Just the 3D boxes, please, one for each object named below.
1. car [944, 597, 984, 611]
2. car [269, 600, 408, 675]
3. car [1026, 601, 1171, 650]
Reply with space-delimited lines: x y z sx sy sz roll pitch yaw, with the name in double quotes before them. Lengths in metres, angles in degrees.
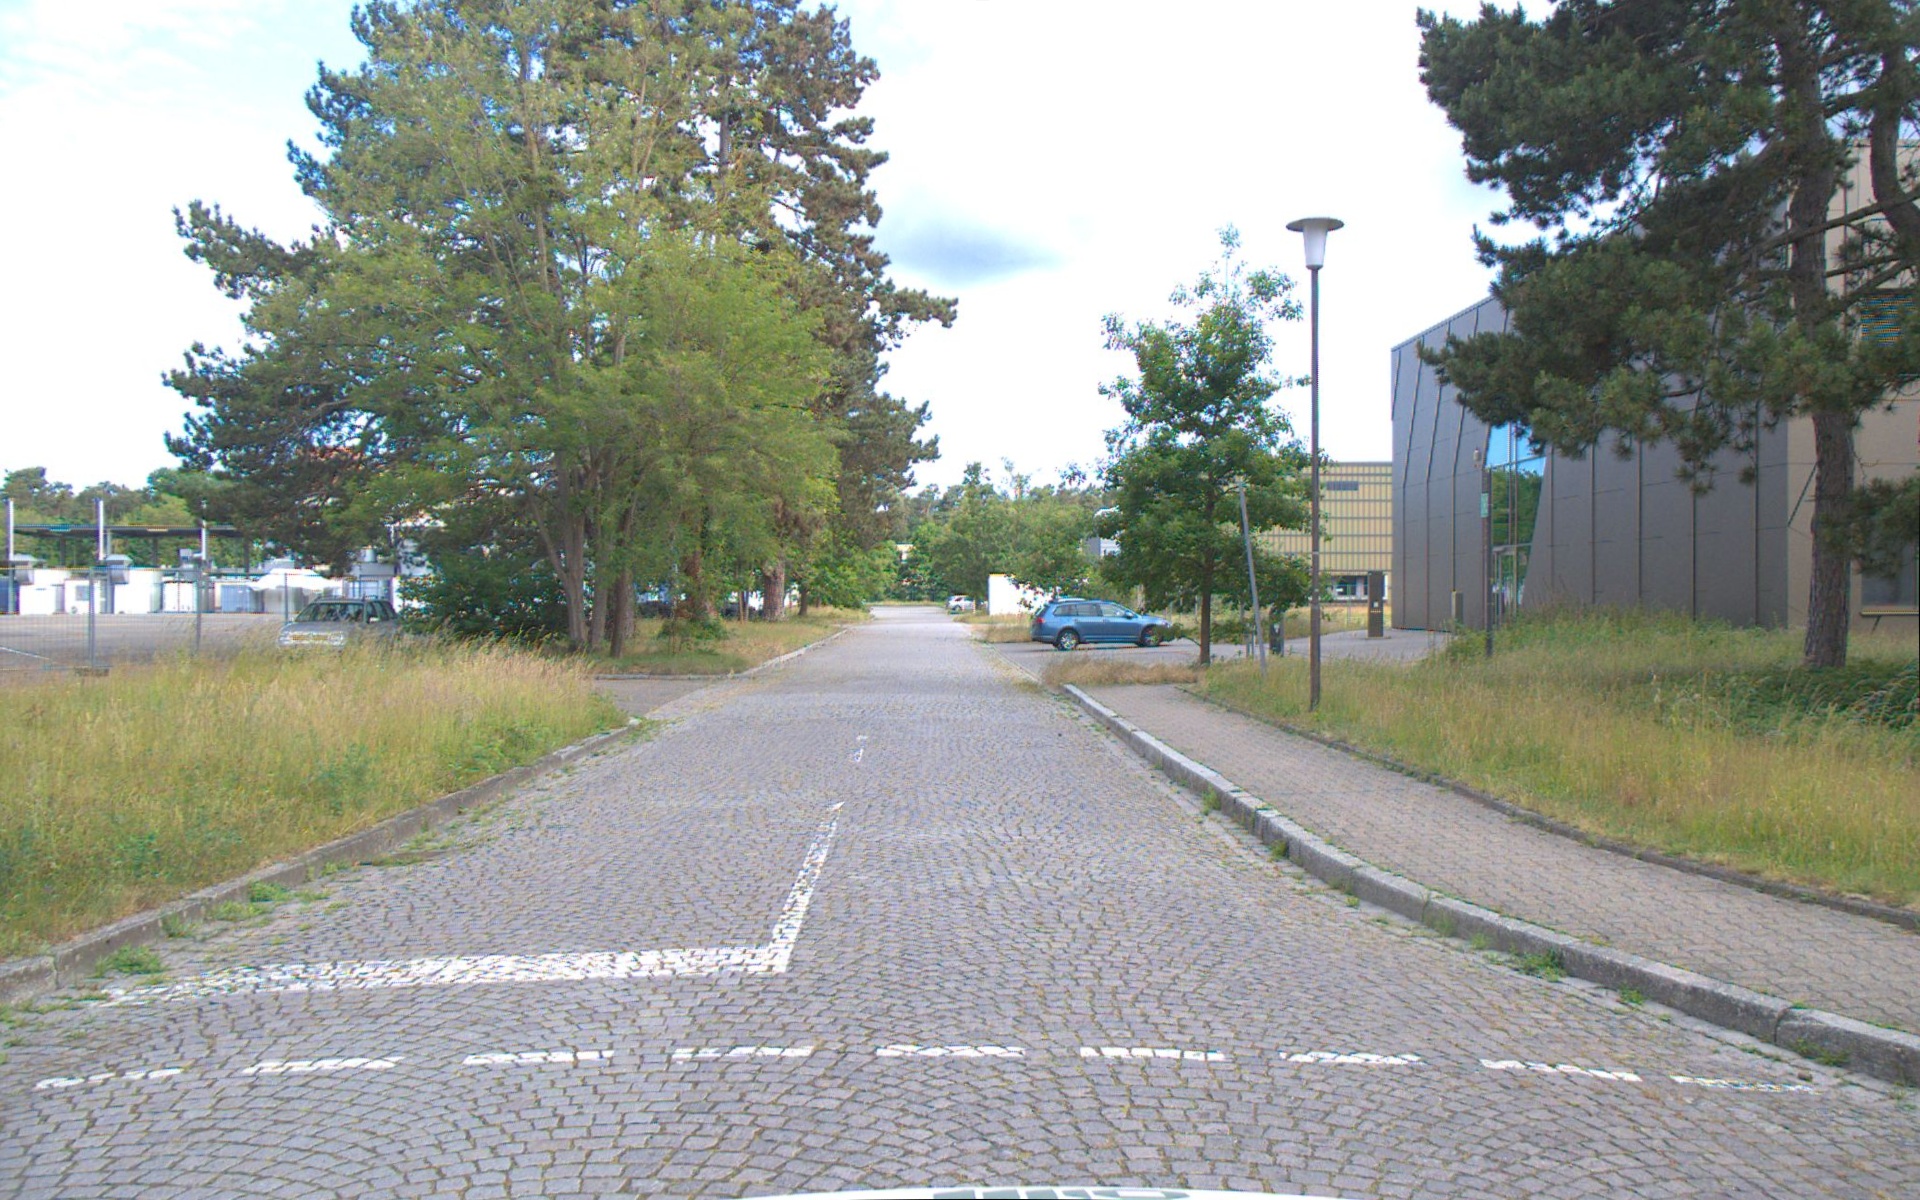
"car" 0.394 0.387 168.329 3.911 1.422 1.997 0 0 -7
"car" -13.354 0.763 35.768 1.580 1.513 3.999 0 0 -1
"car" 4.262 0.789 51.348 4.258 1.447 1.999 0 0 -4
